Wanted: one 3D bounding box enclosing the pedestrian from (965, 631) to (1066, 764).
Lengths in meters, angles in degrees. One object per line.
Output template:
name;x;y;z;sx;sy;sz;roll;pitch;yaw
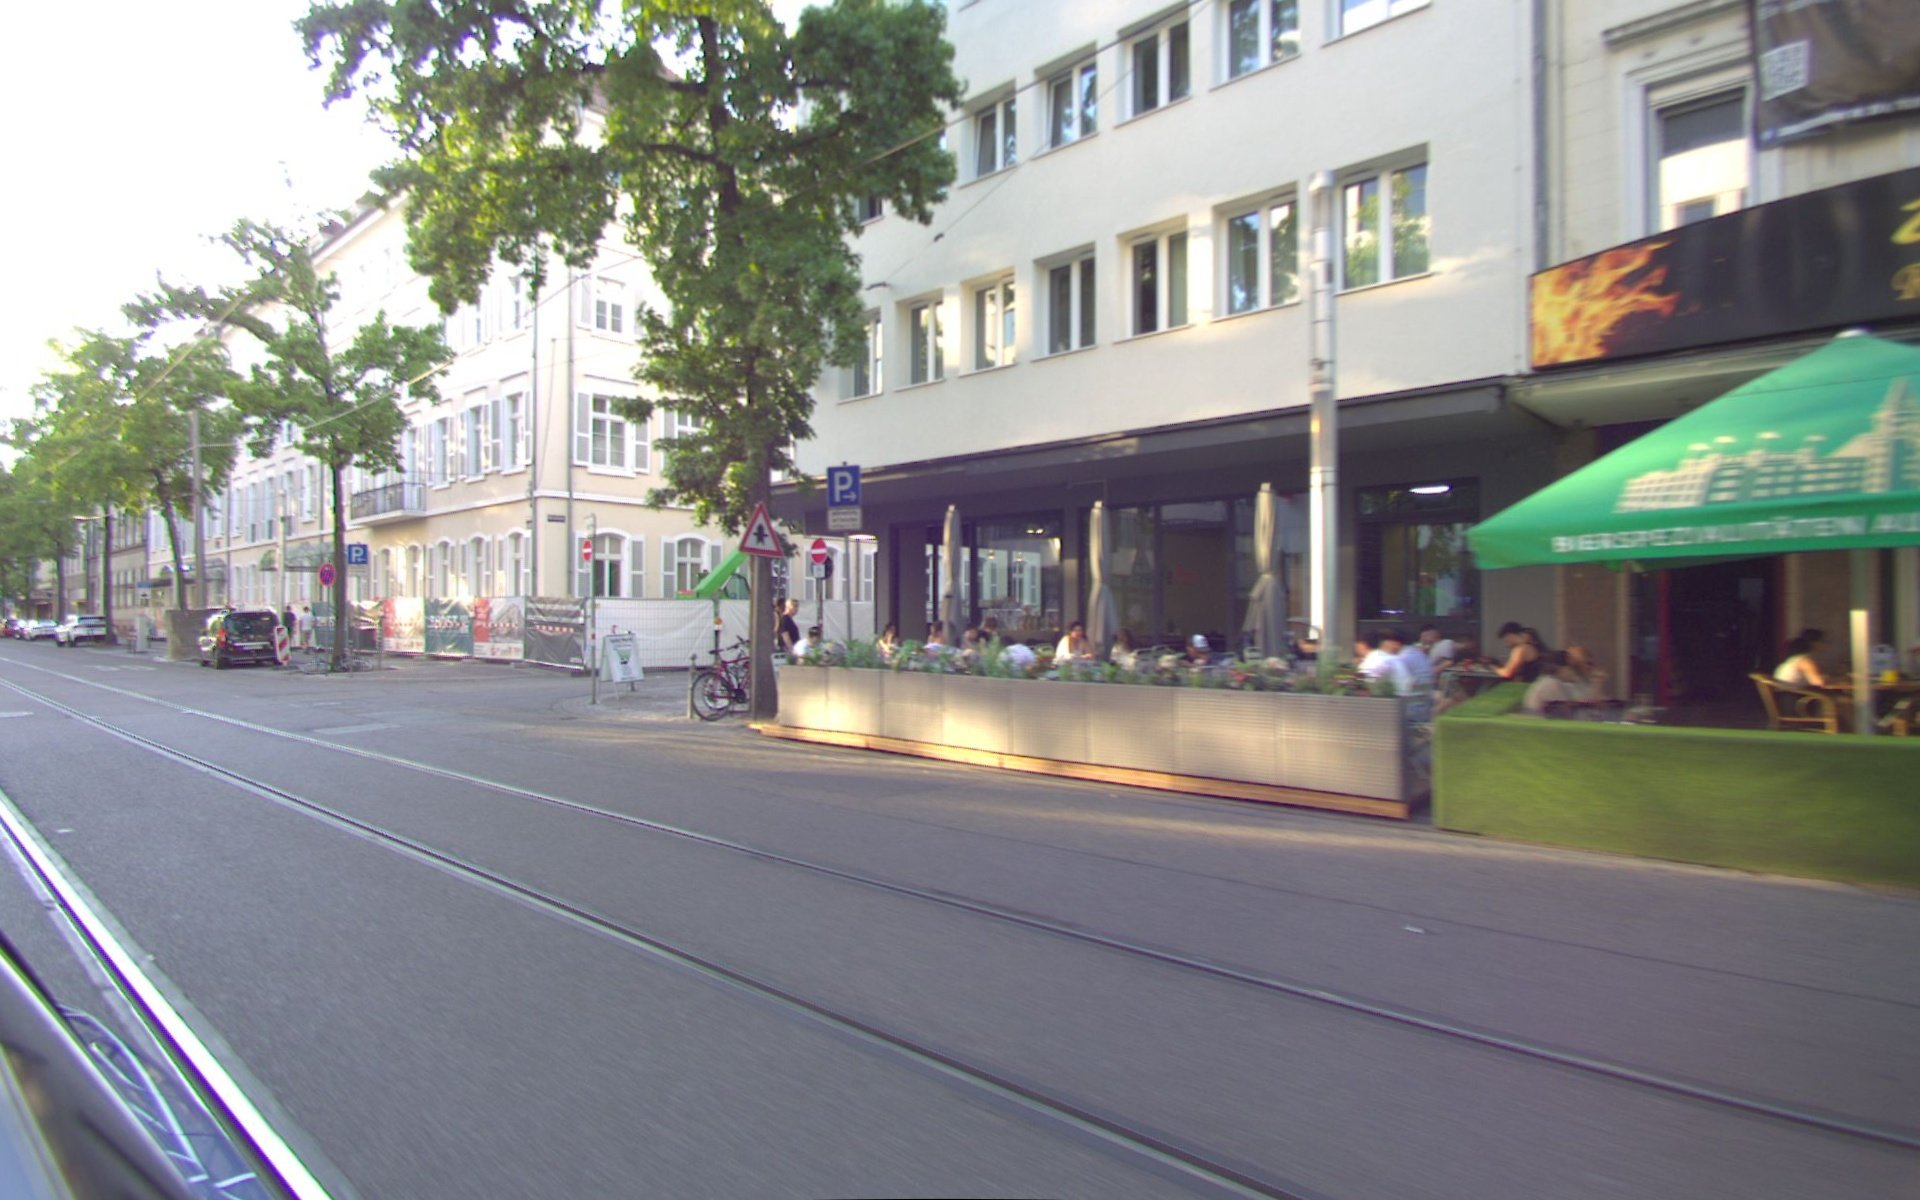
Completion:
pedestrian;0.613;1.046;11.223;0.872;1.372;0.708;-1;-1;44

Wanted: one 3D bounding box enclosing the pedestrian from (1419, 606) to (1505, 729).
pedestrian;5.937;0.767;11.980;0.765;1.389;0.647;0;0;42

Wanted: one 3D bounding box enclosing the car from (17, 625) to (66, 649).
car;-60.597;2.403;66.774;4.104;1.515;1.972;-1;-1;42

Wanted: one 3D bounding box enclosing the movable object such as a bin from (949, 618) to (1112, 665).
movable object such as a bin;2.988;1.623;40.791;2.898;1.677;7.195;0;-2;40

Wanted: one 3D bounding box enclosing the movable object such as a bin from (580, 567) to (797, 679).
movable object such as a bin;-7.643;0.647;29.042;2.641;2.894;5.491;0;-1;39

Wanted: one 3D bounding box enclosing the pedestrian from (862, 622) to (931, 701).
pedestrian;-1.124;1.067;17.909;0.875;1.330;0.882;0;0;-45

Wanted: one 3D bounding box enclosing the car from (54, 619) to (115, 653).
car;-46.968;1.894;54.278;4.104;1.751;1.972;-1;-1;42

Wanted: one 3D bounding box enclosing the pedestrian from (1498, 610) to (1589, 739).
pedestrian;6.579;0.810;11.416;0.765;1.389;0.647;0;0;42

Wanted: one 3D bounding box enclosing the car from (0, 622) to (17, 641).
car;-80.008;2.635;84.221;4.106;1.561;1.971;-1;-1;44

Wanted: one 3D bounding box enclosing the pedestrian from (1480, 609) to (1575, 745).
pedestrian;6.110;0.800;10.896;0.765;1.389;0.647;0;0;42

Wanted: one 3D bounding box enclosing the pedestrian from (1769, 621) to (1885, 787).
pedestrian;7.784;0.891;9.097;0.765;1.389;0.647;0;0;42

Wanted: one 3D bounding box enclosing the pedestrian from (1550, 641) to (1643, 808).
pedestrian;5.020;0.951;7.979;0.511;1.228;0.537;-1;-1;44

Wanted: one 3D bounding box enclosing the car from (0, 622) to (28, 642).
car;-75.471;2.531;80.303;4.106;1.588;1.971;-1;-1;44

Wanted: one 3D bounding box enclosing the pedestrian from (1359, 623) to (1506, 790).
pedestrian;4.211;0.902;9.041;1.012;1.372;0.708;-1;-1;44

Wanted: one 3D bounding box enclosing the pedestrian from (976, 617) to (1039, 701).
pedestrian;0.782;0.949;16.691;0.615;1.330;0.842;0;0;-45

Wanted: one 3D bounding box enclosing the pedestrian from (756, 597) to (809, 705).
pedestrian;-2.951;0.828;16.845;0.635;1.754;0.779;0;0;11

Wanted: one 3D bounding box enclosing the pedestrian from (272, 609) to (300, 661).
pedestrian;-25.362;1.305;38.087;0.769;1.899;0.670;-1;1;43

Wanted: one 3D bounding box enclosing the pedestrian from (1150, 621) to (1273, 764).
pedestrian;2.591;0.907;10.445;1.012;1.372;0.708;-1;-1;44

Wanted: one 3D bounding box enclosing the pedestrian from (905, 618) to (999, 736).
pedestrian;-0.104;0.916;12.444;0.925;1.372;0.708;-1;-1;44

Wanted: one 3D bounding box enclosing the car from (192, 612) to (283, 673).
car;-23.296;1.322;32.593;1.748;1.778;3.880;-3;1;-45

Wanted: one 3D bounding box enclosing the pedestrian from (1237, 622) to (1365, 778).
pedestrian;3.231;0.905;9.603;0.925;1.372;0.708;-1;-1;44

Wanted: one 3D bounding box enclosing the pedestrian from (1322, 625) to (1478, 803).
pedestrian;3.696;0.905;8.515;1.012;1.372;0.708;-1;-1;44

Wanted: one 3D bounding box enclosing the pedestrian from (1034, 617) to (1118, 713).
pedestrian;1.719;0.935;14.998;0.875;1.330;0.882;0;0;-45

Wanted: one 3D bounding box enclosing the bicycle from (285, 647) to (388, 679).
bicycle;-16.922;1.693;27.506;1.328;0.711;2.052;-1;-1;36

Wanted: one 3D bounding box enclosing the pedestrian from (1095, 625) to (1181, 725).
pedestrian;2.508;1.028;14.287;0.837;1.330;0.882;0;0;-44

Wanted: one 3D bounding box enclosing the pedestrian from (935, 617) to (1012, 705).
pedestrian;0.216;0.948;16.225;0.875;1.330;0.882;0;0;-45

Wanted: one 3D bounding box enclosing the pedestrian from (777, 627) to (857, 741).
pedestrian;-1.842;1.050;13.034;0.793;1.388;0.685;-1;-1;44

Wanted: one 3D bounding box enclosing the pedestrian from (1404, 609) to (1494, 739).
pedestrian;5.532;0.805;11.456;0.765;1.389;0.647;0;0;42

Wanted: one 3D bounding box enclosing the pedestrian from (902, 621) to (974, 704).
pedestrian;-0.362;1.027;17.008;0.837;1.330;0.882;0;0;-44

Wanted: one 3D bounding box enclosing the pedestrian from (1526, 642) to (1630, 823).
pedestrian;4.602;0.954;7.539;0.544;1.245;0.579;-1;-1;44

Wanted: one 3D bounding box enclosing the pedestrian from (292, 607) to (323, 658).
pedestrian;-24.973;1.218;38.740;0.880;1.899;0.749;-1;1;43

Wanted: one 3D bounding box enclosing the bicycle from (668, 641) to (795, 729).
bicycle;-3.341;1.212;14.955;0.626;1.147;1.842;0;0;39

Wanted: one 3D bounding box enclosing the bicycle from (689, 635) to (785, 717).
bicycle;-3.508;1.168;16.095;0.773;1.147;1.858;0;0;14

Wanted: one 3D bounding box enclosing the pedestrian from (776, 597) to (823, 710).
pedestrian;-2.551;0.826;16.140;0.632;1.754;0.781;0;0;0
